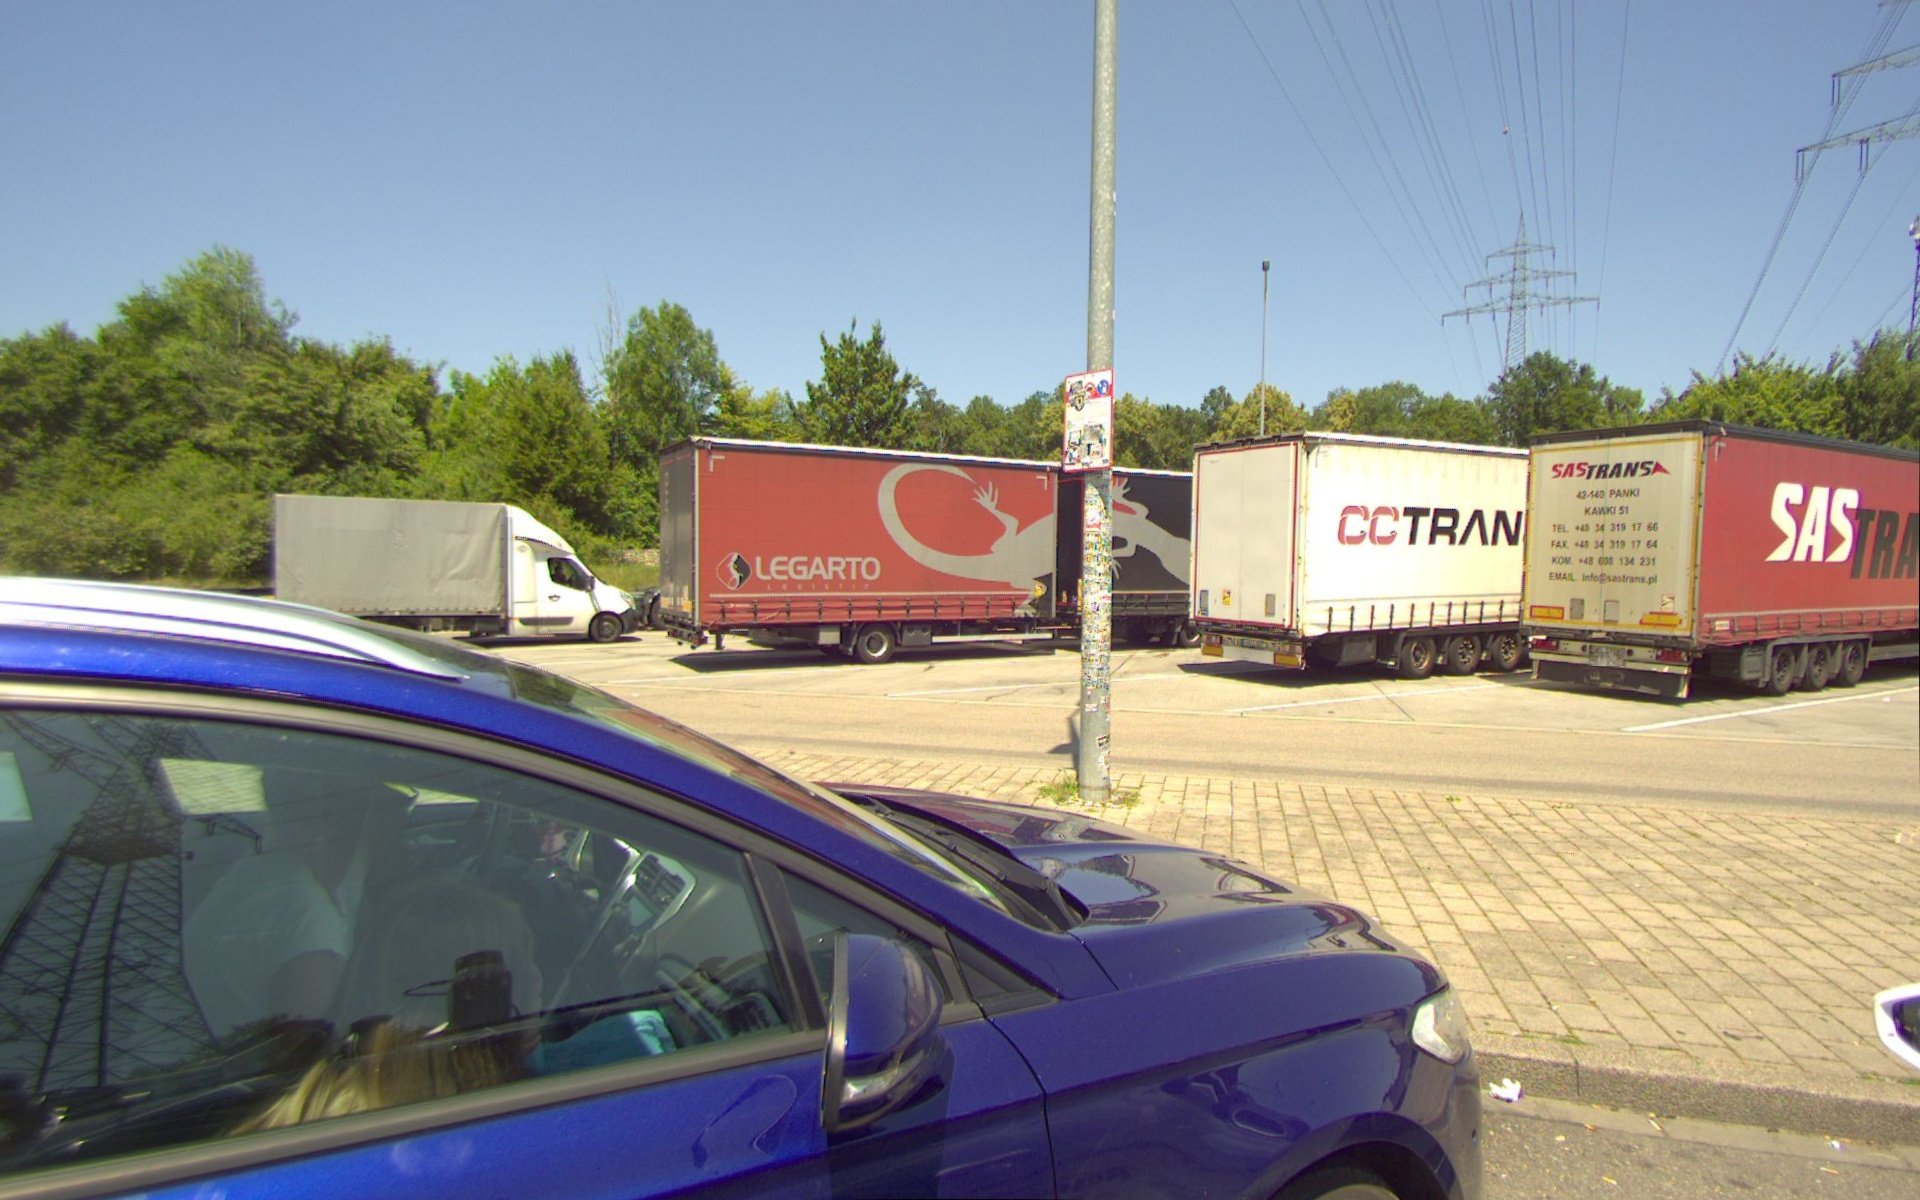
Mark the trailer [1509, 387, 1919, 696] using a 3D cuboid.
[{"bbox_3d":[15.256,-0.783,18.430,13.046,4.276,2.786,0,0,-31],"label":"trailer"}]

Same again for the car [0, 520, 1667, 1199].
[{"bbox_3d":[-1.012,0.658,1.497,4.362,1.437,1.731,1,0,-30],"label":"car"}]

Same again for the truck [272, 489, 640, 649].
[{"bbox_3d":[-11.151,-0.600,22.769,7.171,3.194,2.160,0,1,-30],"label":"truck"}]

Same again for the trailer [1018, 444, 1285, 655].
[{"bbox_3d":[4.653,-1.065,24.154,6.076,4.504,2.665,0,0,-30],"label":"trailer"}]

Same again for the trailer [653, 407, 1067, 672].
[{"bbox_3d":[-1.843,-1.010,20.294,7.963,4.510,2.648,0,0,-31],"label":"trailer"}]

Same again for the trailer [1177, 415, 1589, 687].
[{"bbox_3d":[8.116,-0.763,18.838,8.189,4.208,2.741,0,1,-30],"label":"trailer"}]

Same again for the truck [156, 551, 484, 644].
[{"bbox_3d":[-15.319,-0.040,24.564,6.538,2.040,1.984,0,0,-30],"label":"truck"}]

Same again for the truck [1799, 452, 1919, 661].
[{"bbox_3d":[21.439,-0.858,22.065,5.824,4.189,2.792,0,0,-30],"label":"truck"}]
